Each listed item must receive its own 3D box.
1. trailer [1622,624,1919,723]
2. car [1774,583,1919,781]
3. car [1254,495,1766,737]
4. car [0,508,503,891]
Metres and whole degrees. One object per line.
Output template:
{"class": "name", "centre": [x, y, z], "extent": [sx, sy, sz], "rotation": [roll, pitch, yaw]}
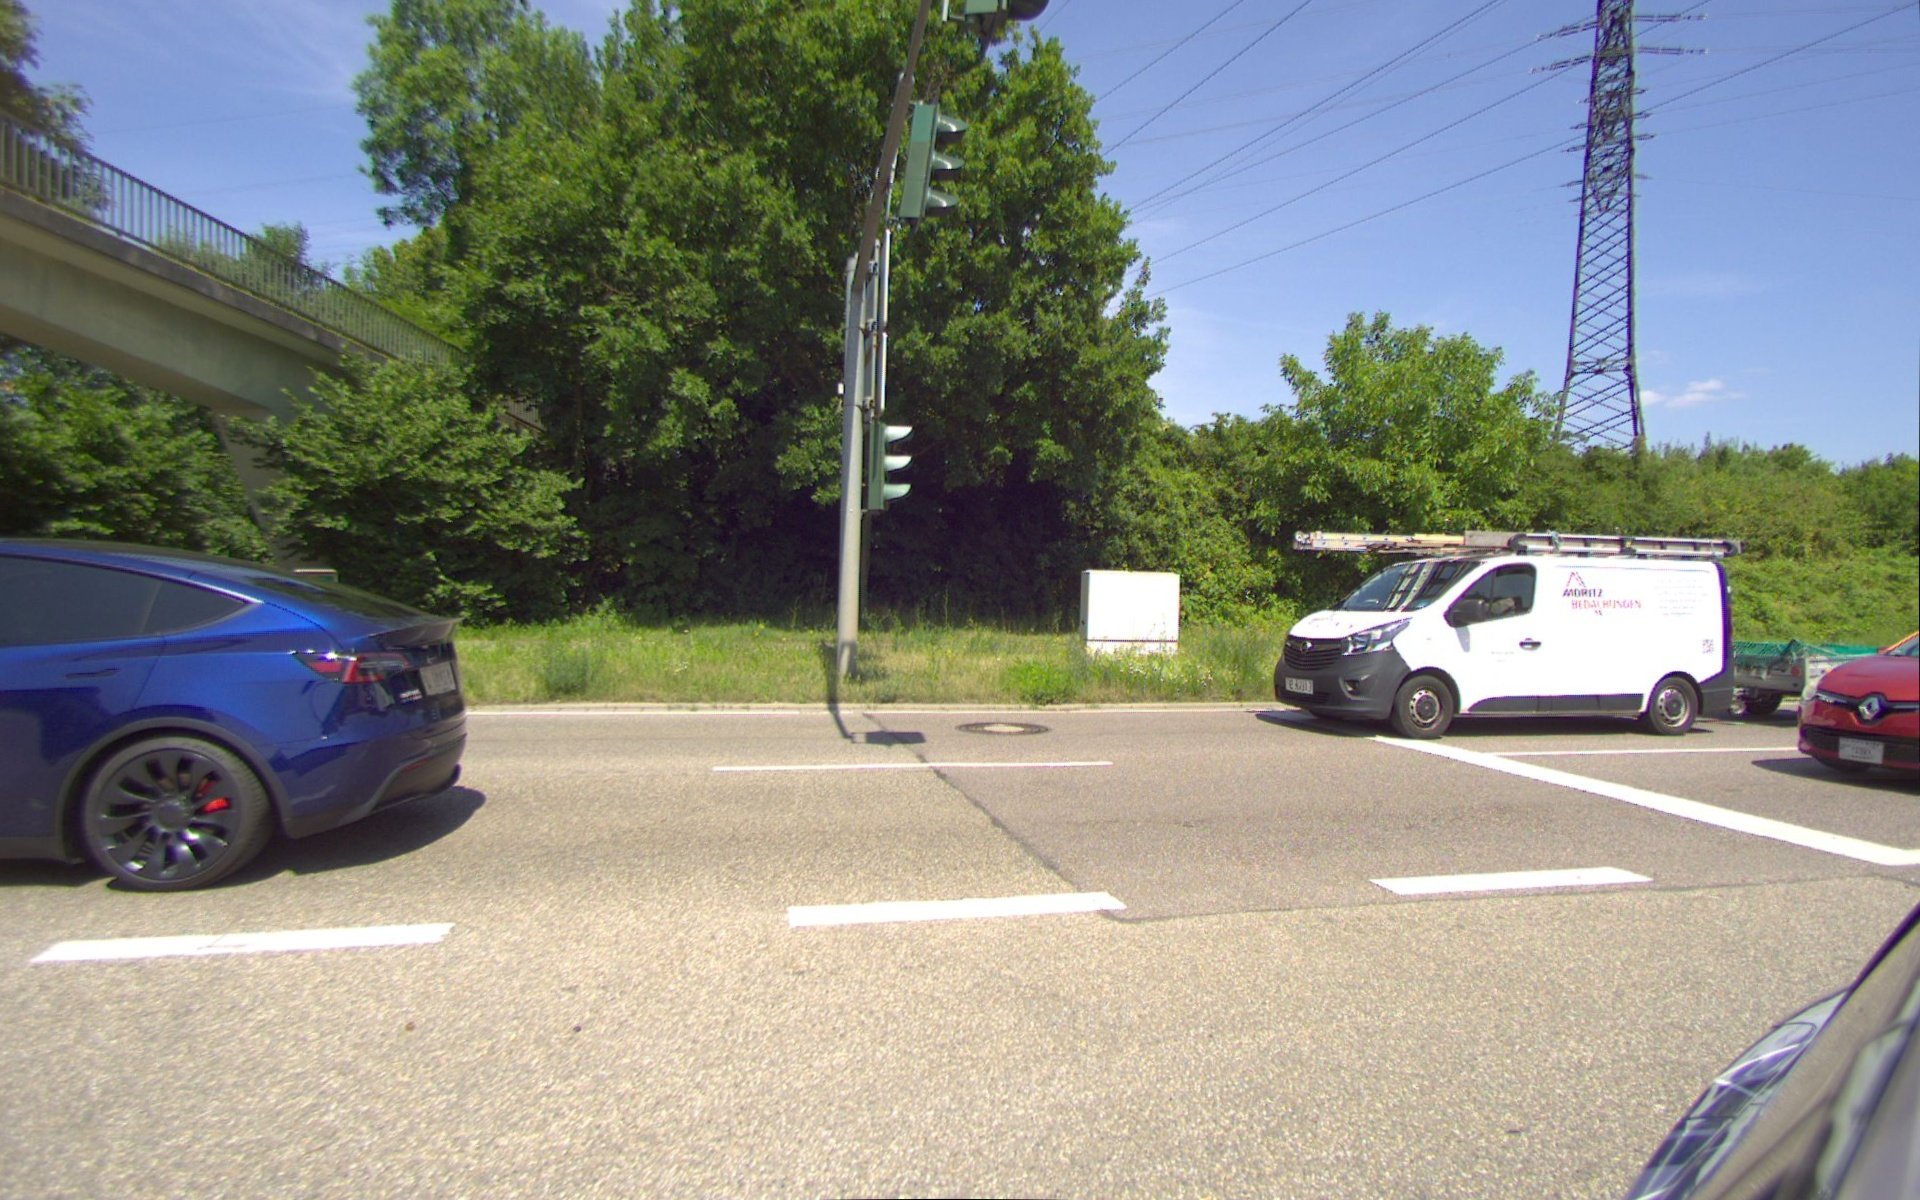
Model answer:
{"class": "trailer", "centre": [10.117, 0.843, 12.244], "extent": [3.254, 1.019, 1.715], "rotation": [1, 1, -12]}
{"class": "car", "centre": [9.078, 0.630, 8.224], "extent": [3.980, 1.480, 1.752], "rotation": [1, 0, -13]}
{"class": "car", "centre": [6.087, 0.168, 11.393], "extent": [4.969, 2.379, 1.942], "rotation": [1, 0, -12]}
{"class": "car", "centre": [-4.943, 0.415, 5.201], "extent": [4.425, 1.665, 1.910], "rotation": [1, 0, -13]}
